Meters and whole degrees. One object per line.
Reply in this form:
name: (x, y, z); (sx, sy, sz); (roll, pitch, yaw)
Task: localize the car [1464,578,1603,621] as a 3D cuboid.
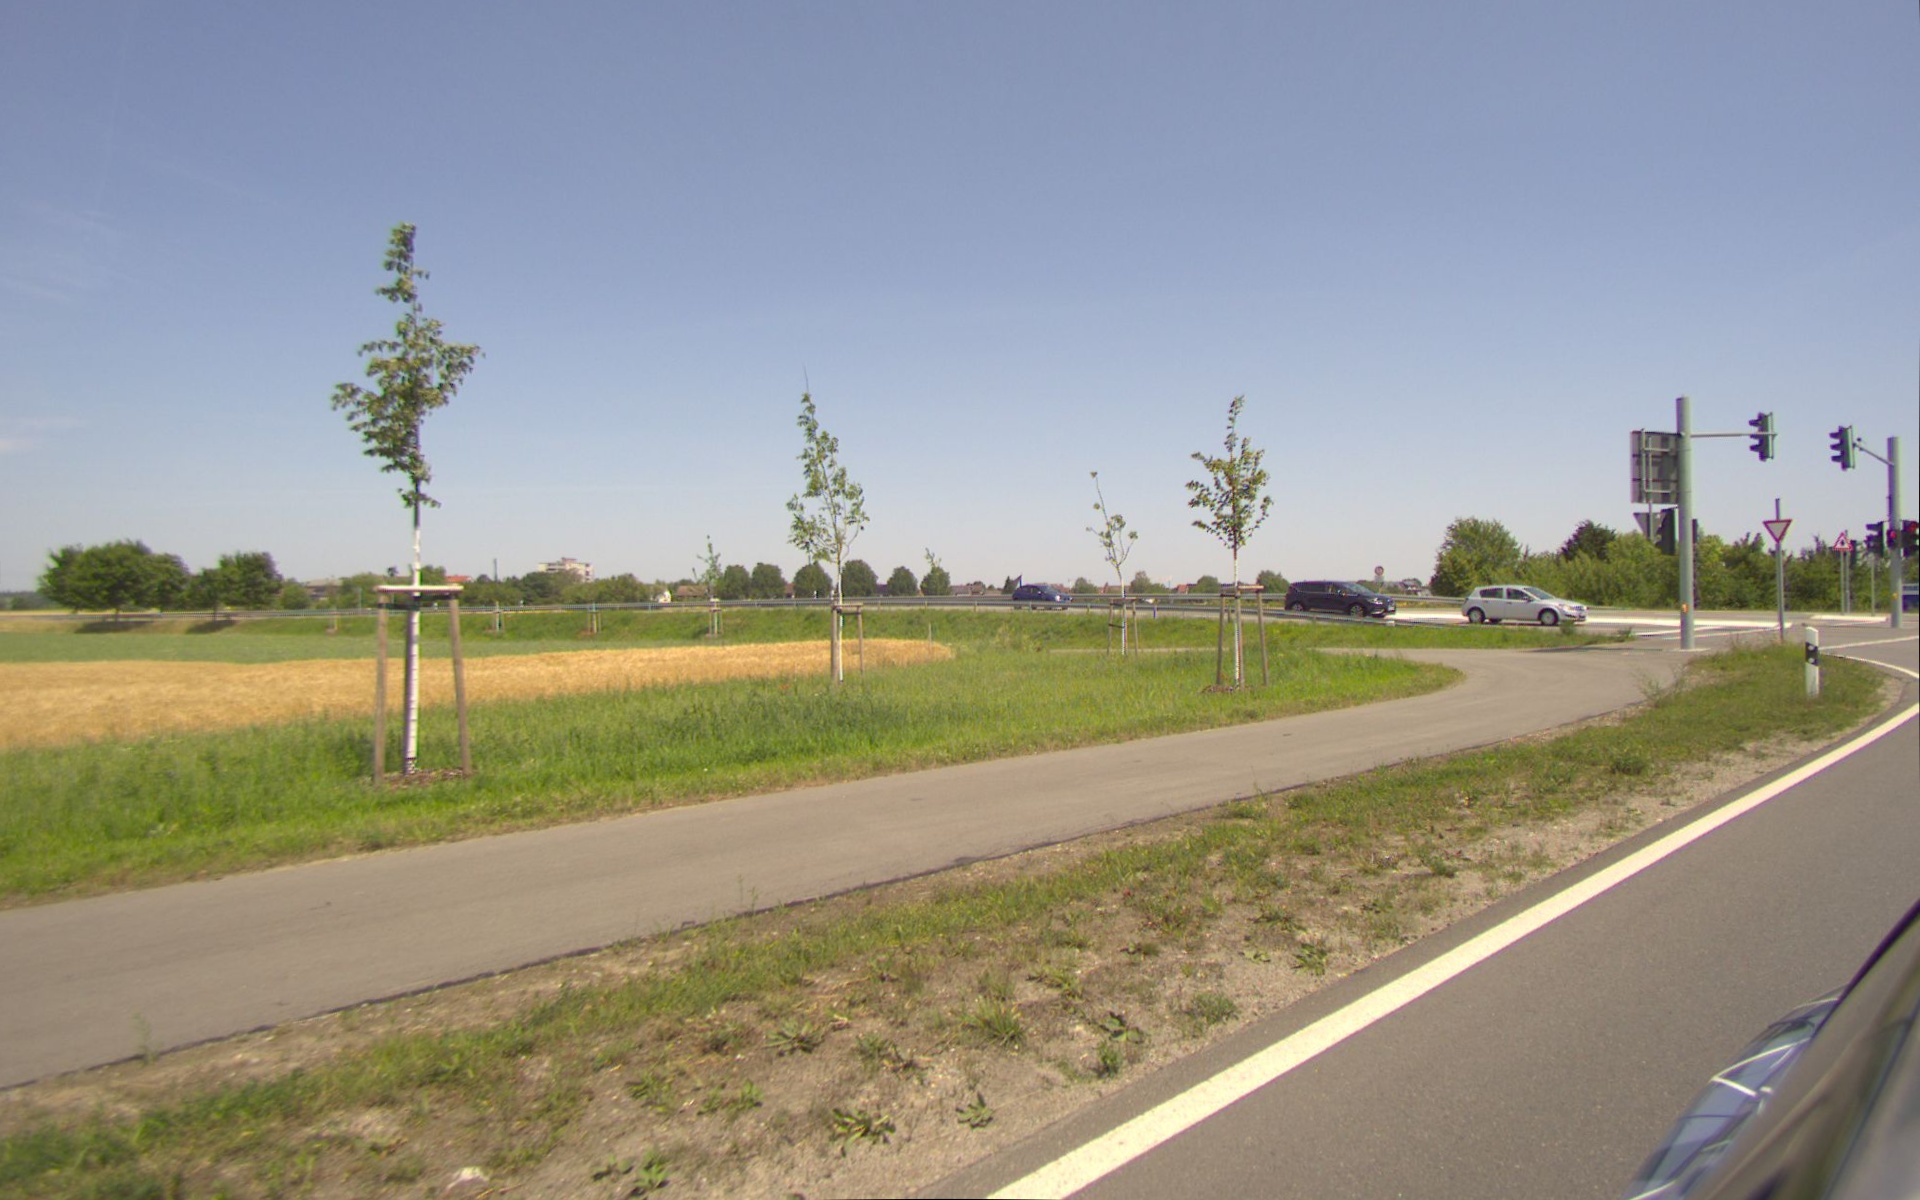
car: (20.999, -0.032, 37.216); (1.629, 1.478, 4.152); (-1, 1, -35)

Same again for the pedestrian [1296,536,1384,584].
pedestrian: (16.927, -1.741, 45.021); (3.930, 2.038, 1.997); (-1, 2, -41)

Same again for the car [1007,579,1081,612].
car: (4.815, -0.236, 58.337); (1.889, 1.831, 3.908); (-1, 0, -45)

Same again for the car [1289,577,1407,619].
car: (16.616, -0.130, 43.518); (1.780, 1.661, 4.527); (-2, 2, -35)
